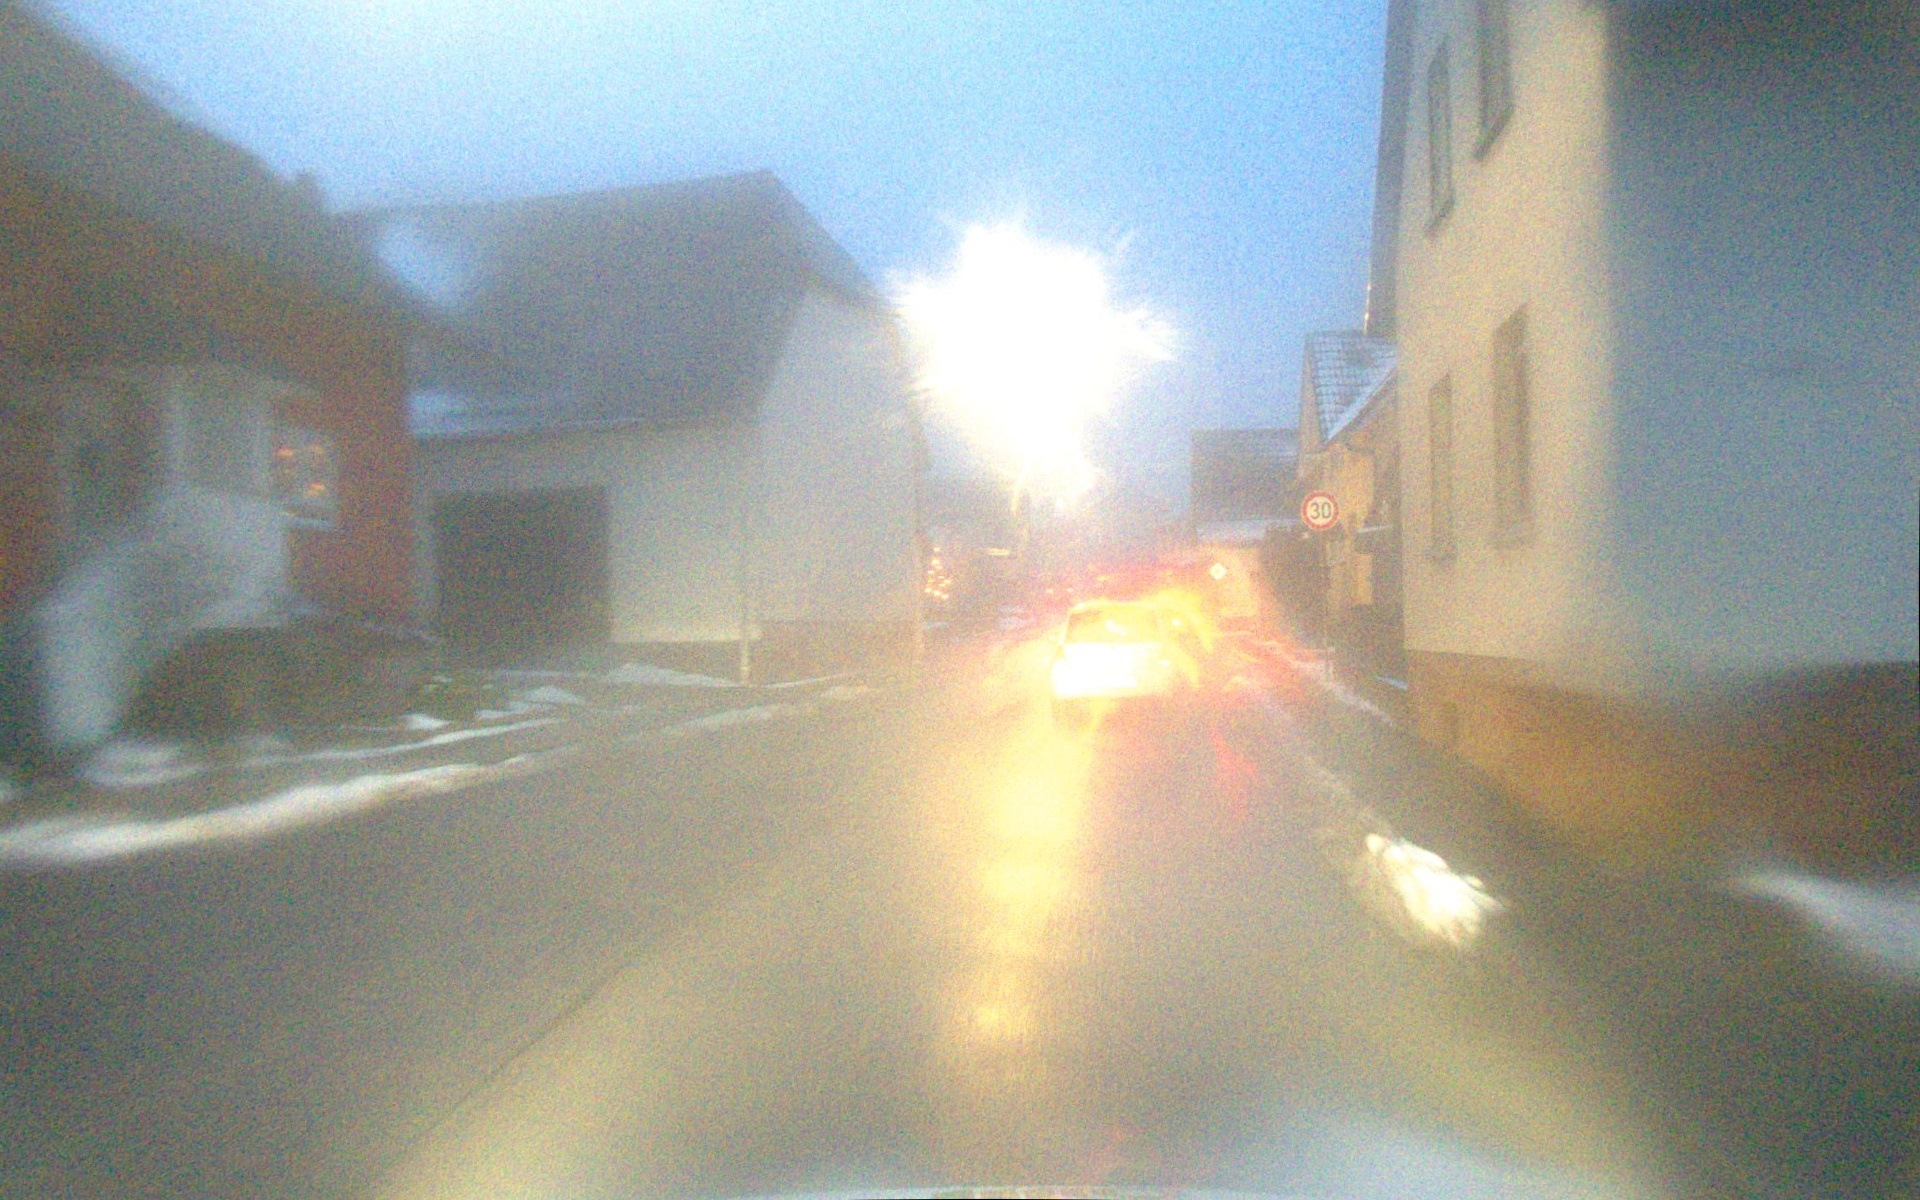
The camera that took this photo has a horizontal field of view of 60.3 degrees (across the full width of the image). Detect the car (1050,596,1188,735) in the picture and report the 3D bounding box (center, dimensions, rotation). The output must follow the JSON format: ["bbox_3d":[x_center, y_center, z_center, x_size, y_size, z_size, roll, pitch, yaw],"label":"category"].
[{"bbox_3d":[2.105,0.792,21.276,1.610,1.624,3.702,0,-1,7],"label":"car"}]

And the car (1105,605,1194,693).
[{"bbox_3d":[3.769,0.936,32.452,1.610,1.624,3.702,0,-1,9],"label":"car"}]
